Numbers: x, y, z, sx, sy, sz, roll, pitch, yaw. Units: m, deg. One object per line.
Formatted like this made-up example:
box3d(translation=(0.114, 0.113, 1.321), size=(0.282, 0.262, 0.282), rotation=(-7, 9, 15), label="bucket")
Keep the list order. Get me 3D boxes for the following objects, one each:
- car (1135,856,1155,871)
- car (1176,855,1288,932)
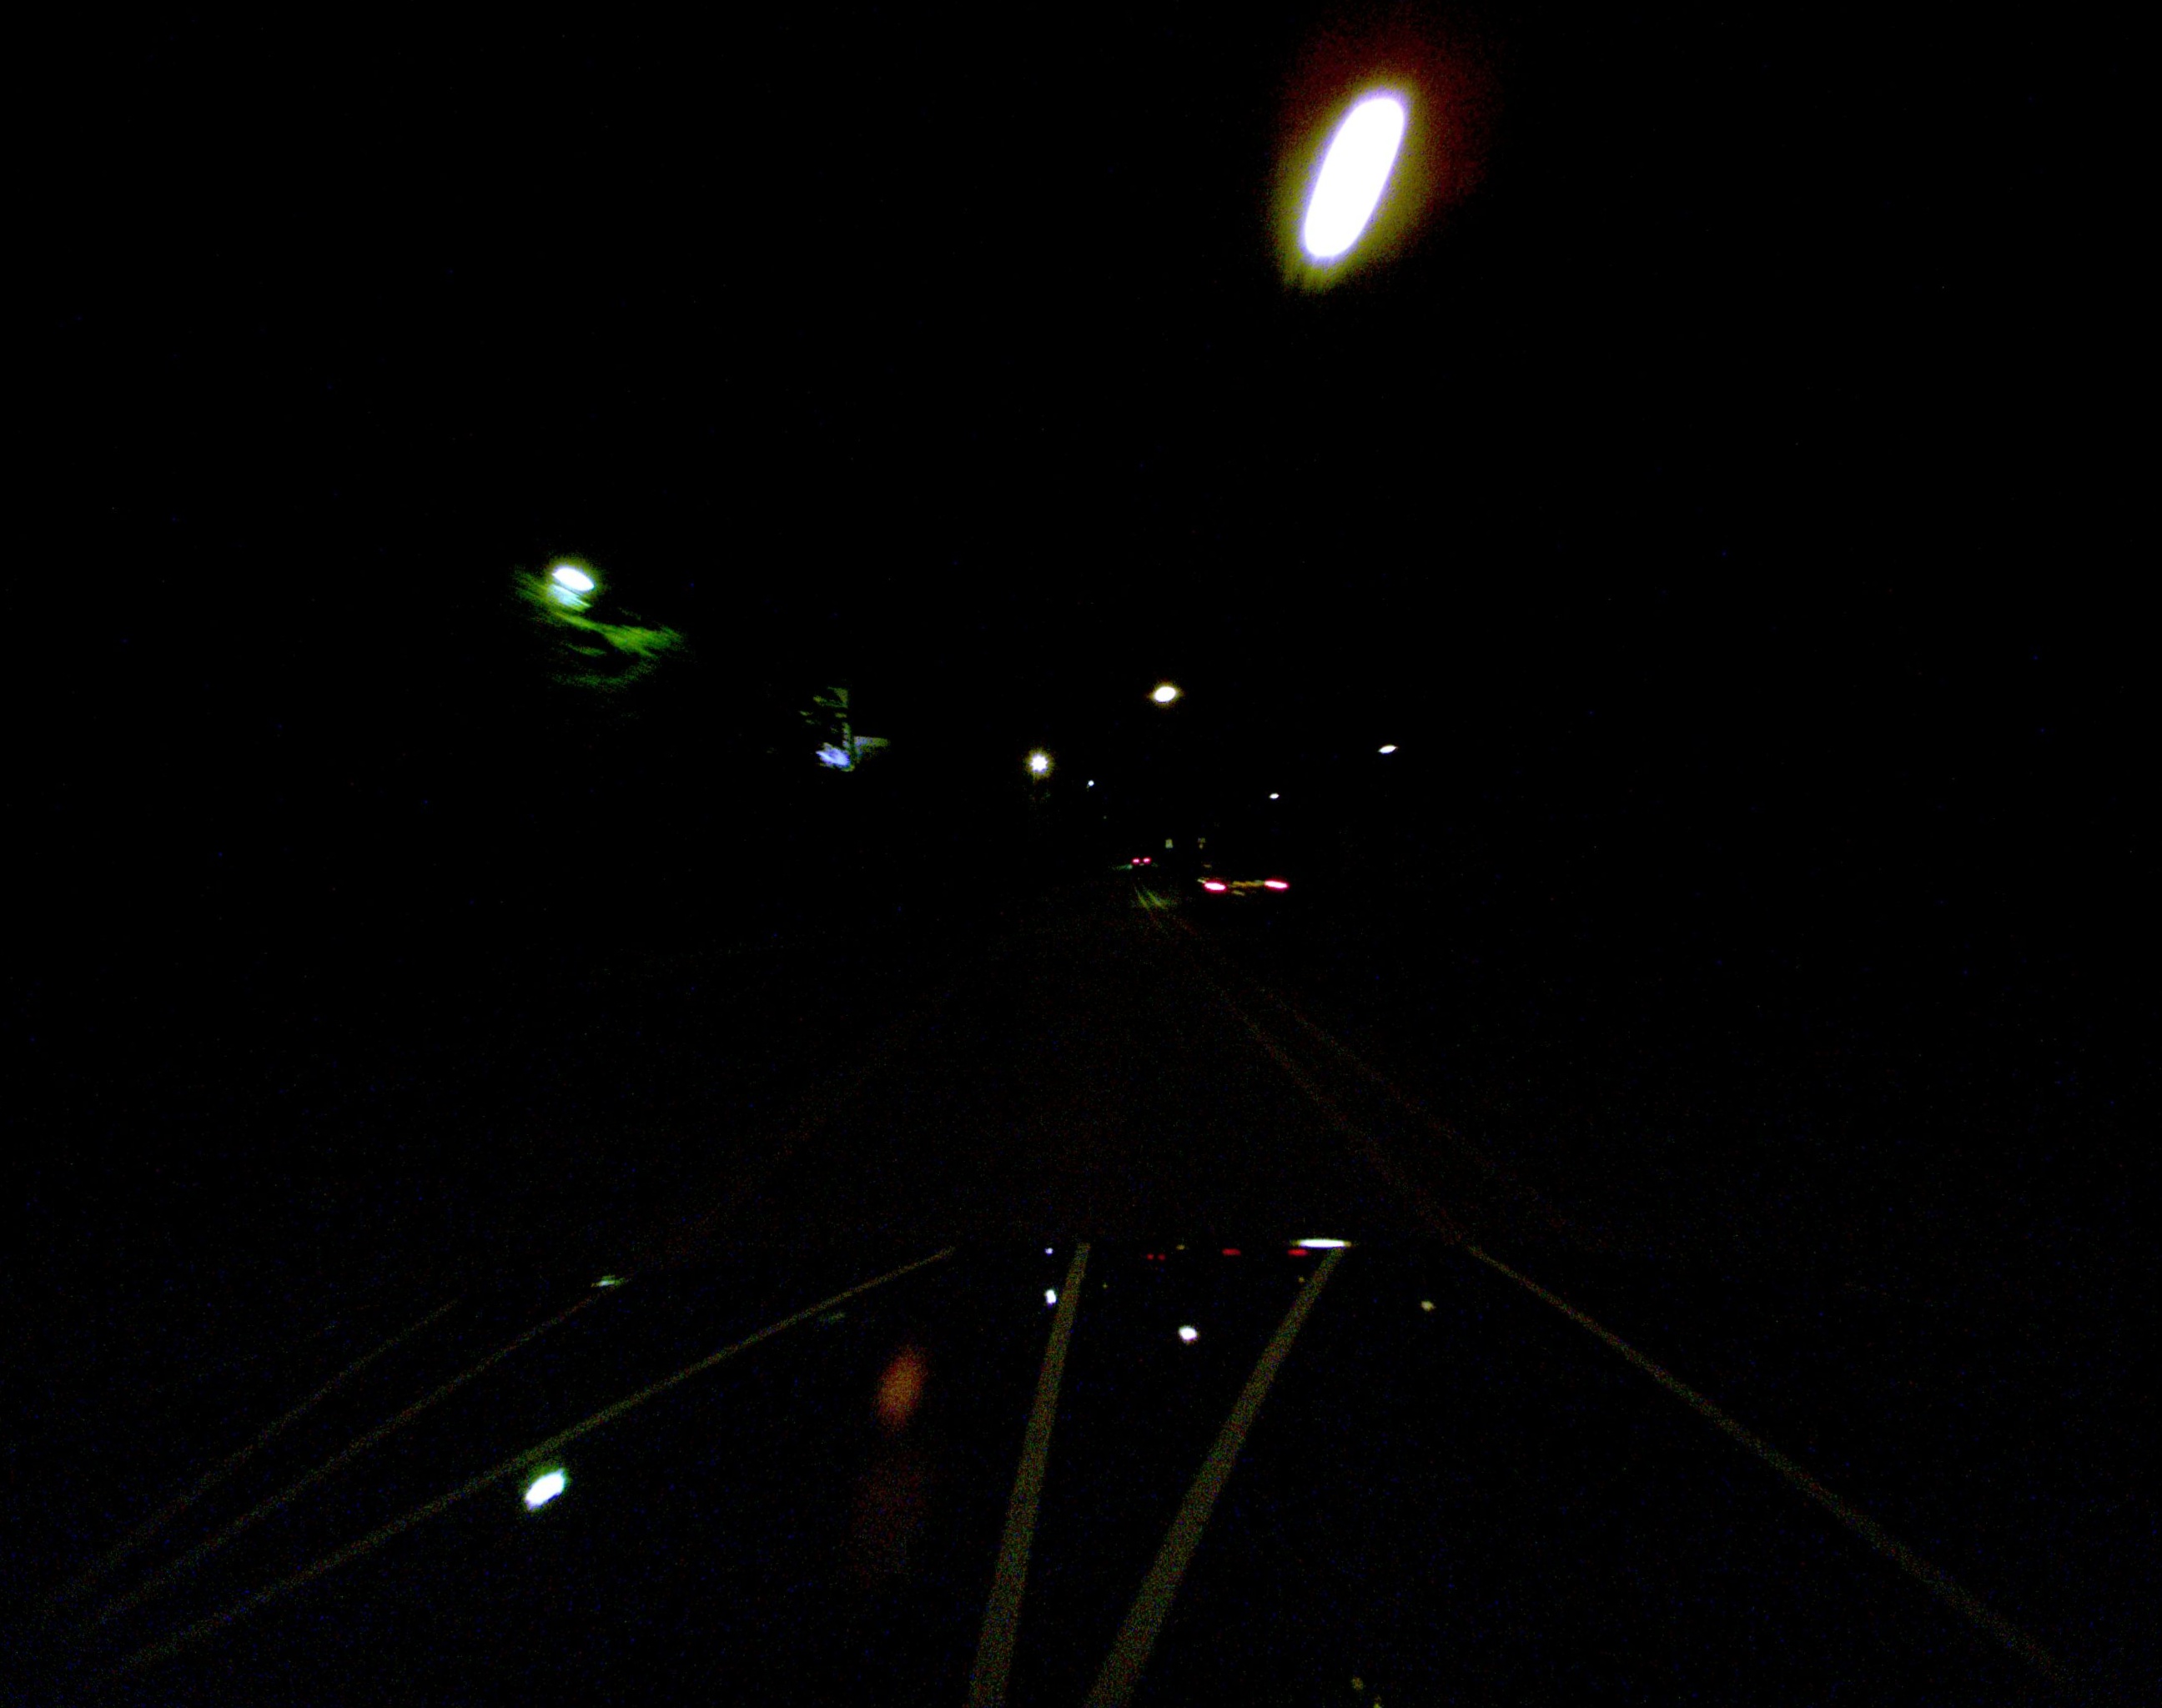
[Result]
box3d(translation=(7.292, 1.034, 86.180), size=(1.885, 1.545, 4.219), rotation=(-2, 1, 8), label="car")
box3d(translation=(3.405, 0.830, 17.875), size=(1.792, 1.439, 4.171), rotation=(-3, 1, 1), label="car")
